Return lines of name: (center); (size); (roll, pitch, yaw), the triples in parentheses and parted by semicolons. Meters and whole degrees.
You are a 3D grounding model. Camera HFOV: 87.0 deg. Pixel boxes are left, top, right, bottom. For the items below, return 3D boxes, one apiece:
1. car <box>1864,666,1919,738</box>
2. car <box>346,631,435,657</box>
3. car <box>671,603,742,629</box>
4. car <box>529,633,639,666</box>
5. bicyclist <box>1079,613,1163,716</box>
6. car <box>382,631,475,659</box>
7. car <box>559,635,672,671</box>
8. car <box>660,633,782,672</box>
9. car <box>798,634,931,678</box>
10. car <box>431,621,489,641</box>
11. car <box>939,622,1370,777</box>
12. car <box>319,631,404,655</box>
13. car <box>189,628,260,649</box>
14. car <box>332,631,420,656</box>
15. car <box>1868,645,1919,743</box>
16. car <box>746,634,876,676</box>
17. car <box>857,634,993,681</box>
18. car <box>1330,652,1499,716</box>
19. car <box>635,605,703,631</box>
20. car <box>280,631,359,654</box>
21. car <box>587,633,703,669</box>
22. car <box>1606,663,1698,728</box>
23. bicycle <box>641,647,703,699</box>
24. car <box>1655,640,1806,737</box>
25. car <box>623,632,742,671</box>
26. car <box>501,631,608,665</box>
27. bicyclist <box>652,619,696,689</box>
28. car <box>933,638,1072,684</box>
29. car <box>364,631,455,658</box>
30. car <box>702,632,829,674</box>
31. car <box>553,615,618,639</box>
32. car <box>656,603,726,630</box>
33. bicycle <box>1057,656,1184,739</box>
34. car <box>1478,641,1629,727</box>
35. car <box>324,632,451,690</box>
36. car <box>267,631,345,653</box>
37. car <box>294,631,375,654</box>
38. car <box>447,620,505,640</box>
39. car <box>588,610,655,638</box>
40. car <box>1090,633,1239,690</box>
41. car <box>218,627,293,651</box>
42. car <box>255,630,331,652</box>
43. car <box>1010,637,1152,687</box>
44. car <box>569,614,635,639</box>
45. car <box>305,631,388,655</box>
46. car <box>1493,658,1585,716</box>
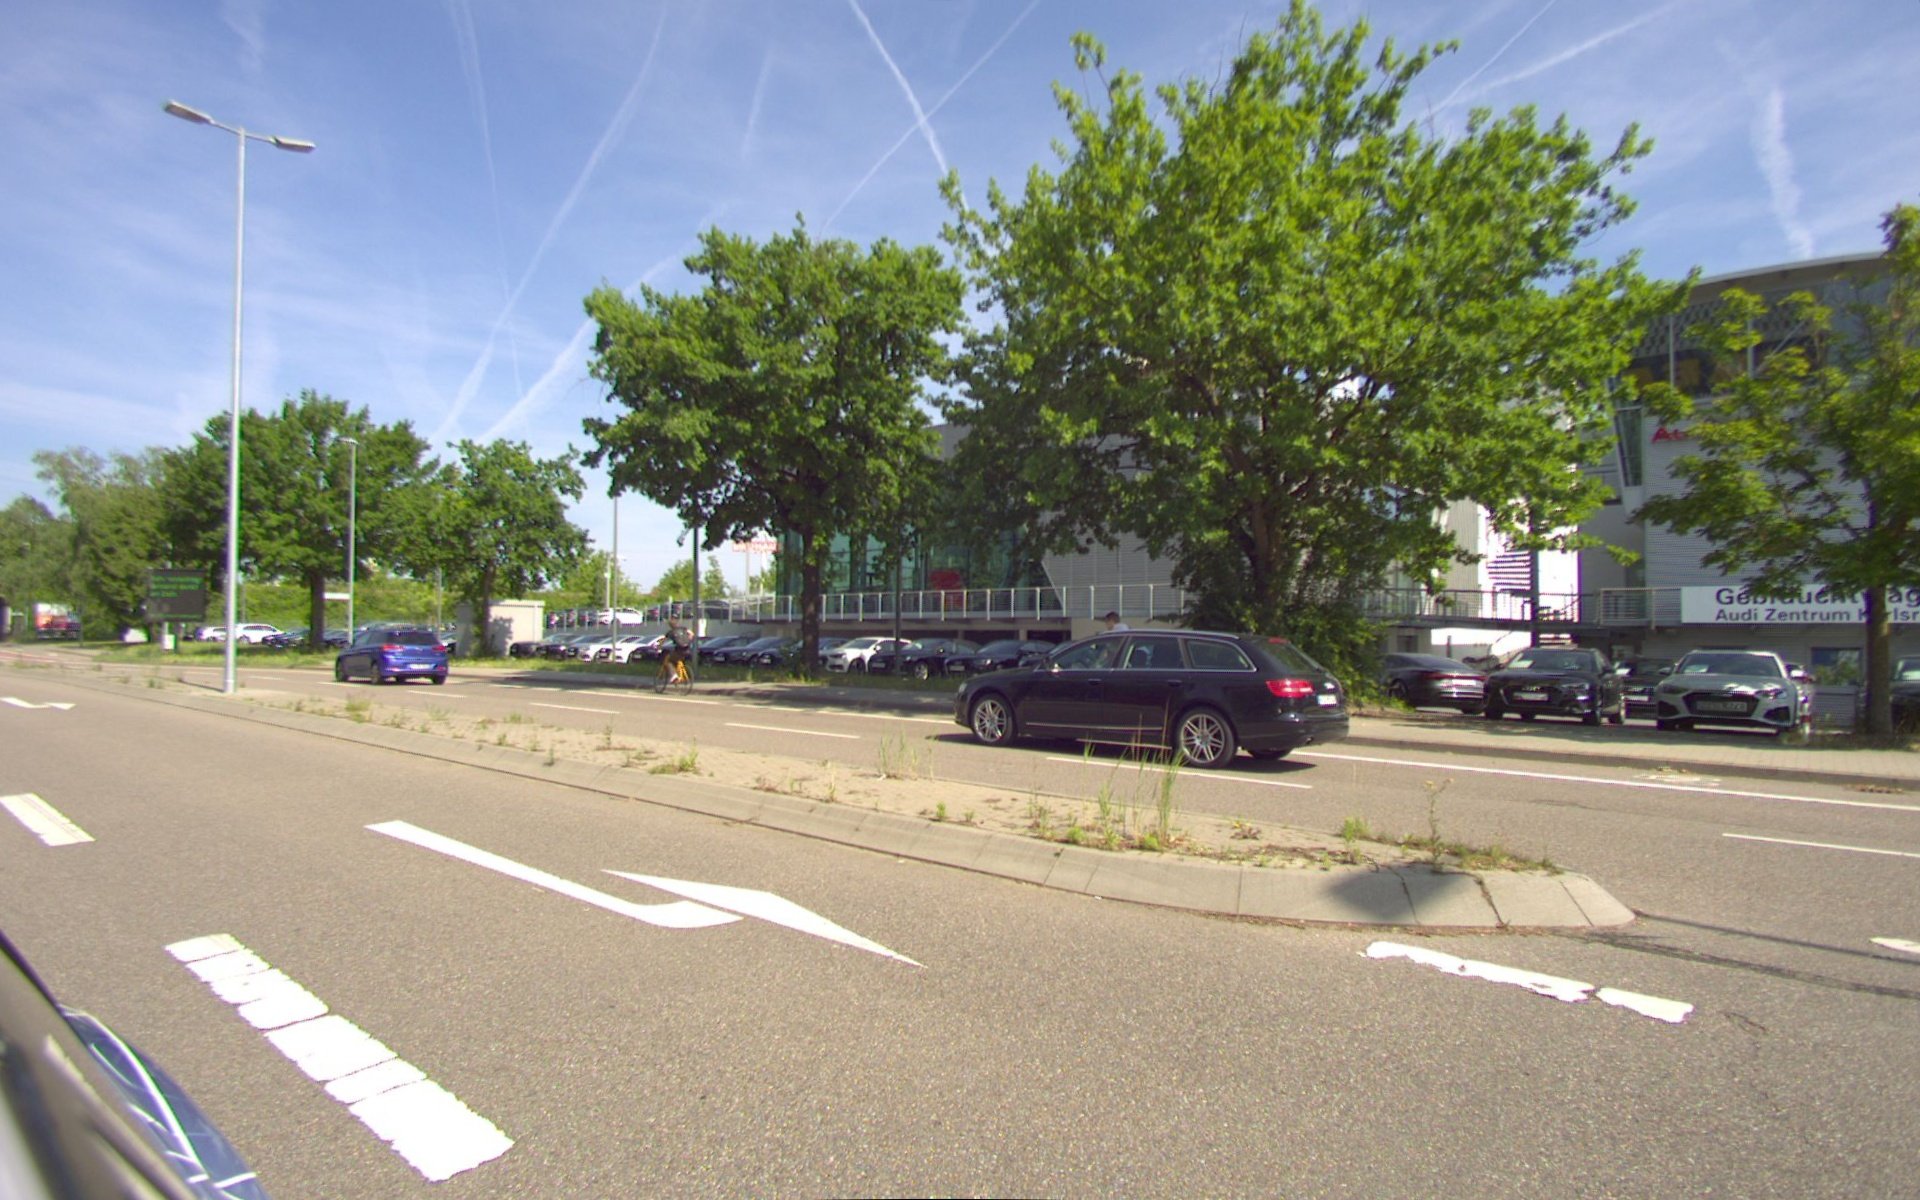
car: (22.105, 2.307, 23.380); (1.689, 1.484, 3.622); (-2, -3, 40)
car: (-33.060, 2.583, 58.866); (1.689, 1.333, 4.142); (-2, -6, 41)
car: (-16.248, 1.056, 64.912); (1.689, 1.416, 4.142); (-2, -6, 41)
car: (-16.337, 2.176, 44.067); (1.689, 1.256, 4.142); (-2, -6, 41)
bicyclist: (2.438, 0.961, 15.353); (1.143, 1.494, 0.564); (-2, -3, 44)
car: (-28.966, 2.462, 55.237); (1.689, 1.333, 4.142); (-2, -6, 41)
car: (-14.380, 2.232, 42.355); (1.689, 1.335, 4.142); (-2, -6, 41)
car: (-8.702, 1.942, 37.113); (1.689, 1.269, 4.142); (-2, -6, 41)
car: (-2.944, 1.794, 32.044); (1.689, 1.204, 4.142); (-2, -6, 41)
car: (-44.222, 2.728, 89.572); (1.689, 1.511, 4.142); (-2, -6, 41)
car: (2.121, 1.062, 11.857); (4.660, 1.471, 1.828); (-2, -5, 40)
car: (-37.061, 2.677, 62.719); (1.689, 1.333, 4.142); (-2, -6, 41)
car: (-57.524, 3.014, 79.197); (1.689, 1.389, 4.142); (-2, -6, 41)
car: (-34.918, 2.617, 60.585); (1.689, 1.333, 4.142); (-2, -6, 41)
car: (15.149, 1.457, 15.321); (1.833, 1.365, 4.069); (-1, -5, 39)
car: (-4.872, 1.834, 33.562); (1.689, 1.215, 4.142); (-2, -6, 41)
car: (-0.993, 1.757, 30.487); (1.689, 1.256, 4.142); (-2, -6, 41)
car: (10.525, 1.902, 23.756); (1.662, 1.343, 3.848); (1, -3, -11)
car: (-19.813, 1.232, 68.987); (1.689, 1.511, 4.142); (-2, -6, 41)
car: (-42.894, 2.866, 67.841); (1.689, 1.333, 4.142); (-2, -6, 41)
car: (-12.611, 2.086, 40.729); (1.689, 1.265, 4.142); (-2, -6, 41)
car: (18.305, 2.462, 26.721); (1.688, 1.484, 3.779); (-2, -3, 39)
bicycle: (-6.779, 1.700, 23.797); (1.770, 1.159, 0.565); (-2, -4, 44)
car: (13.052, 1.483, 17.055); (1.801, 1.405, 4.173); (-2, -6, 40)
car: (-10.613, 1.986, 38.934); (1.689, 1.309, 4.142); (-2, -6, 41)
car: (-18.235, 2.186, 45.645); (1.689, 1.333, 4.142); (-2, -6, 41)
bicyclist: (-6.714, 1.261, 23.756); (0.910, 1.609, 0.570); (-2, -4, 43)
car: (1.287, 1.758, 28.756); (1.718, 1.131, 4.142); (-2, -6, 41)
car: (-31.068, 2.546, 57.230); (1.689, 1.333, 4.142); (-2, -6, 41)
car: (-6.718, 1.862, 35.288); (1.689, 1.264, 4.142); (-2, -6, 41)
car: (-27.814, 2.010, 75.251); (1.689, 1.511, 4.142); (-2, -6, 41)
car: (-17.810, 1.142, 67.128); (1.689, 1.511, 4.142); (-2, -6, 41)
bicycle: (2.408, 1.447, 15.366); (1.925, 1.159, 0.565); (-2, -3, 44)
car: (11.105, 1.561, 18.820); (1.807, 1.413, 3.984); (-2, -5, 39)
car: (-15.453, 1.611, 27.248); (3.867, 1.449, 1.710); (-2, -5, 41)
car: (-44.839, 2.886, 69.411); (1.689, 1.333, 4.142); (-2, -6, 41)
car: (-40.922, 2.786, 66.235); (1.689, 1.333, 4.142); (-2, -6, 41)
car: (-41.655, 2.617, 87.106); (1.689, 1.511, 4.142); (-2, -6, 41)
car: (-24.035, 1.744, 72.002); (1.689, 1.745, 4.142); (-2, -6, 41)
car: (5.162, 1.553, 25.133); (1.796, 1.236, 4.142); (-2, -6, 41)
car: (-51.597, 2.883, 74.158); (1.689, 1.511, 4.142); (-2, -6, 41)
car: (-46.930, 2.903, 71.259); (1.689, 1.333, 4.142); (-2, -6, 41)
car: (3.279, 1.666, 26.848); (1.694, 1.143, 4.142); (-2, -6, 41)
car: (-26.043, 1.947, 73.735); (1.689, 1.511, 4.142); (-2, -6, 41)
car: (-38.986, 2.749, 64.366); (1.689, 1.333, 4.142); (-2, -6, 41)
car: (16.366, 2.397, 28.546); (1.688, 1.448, 3.780); (-2, -3, 38)
